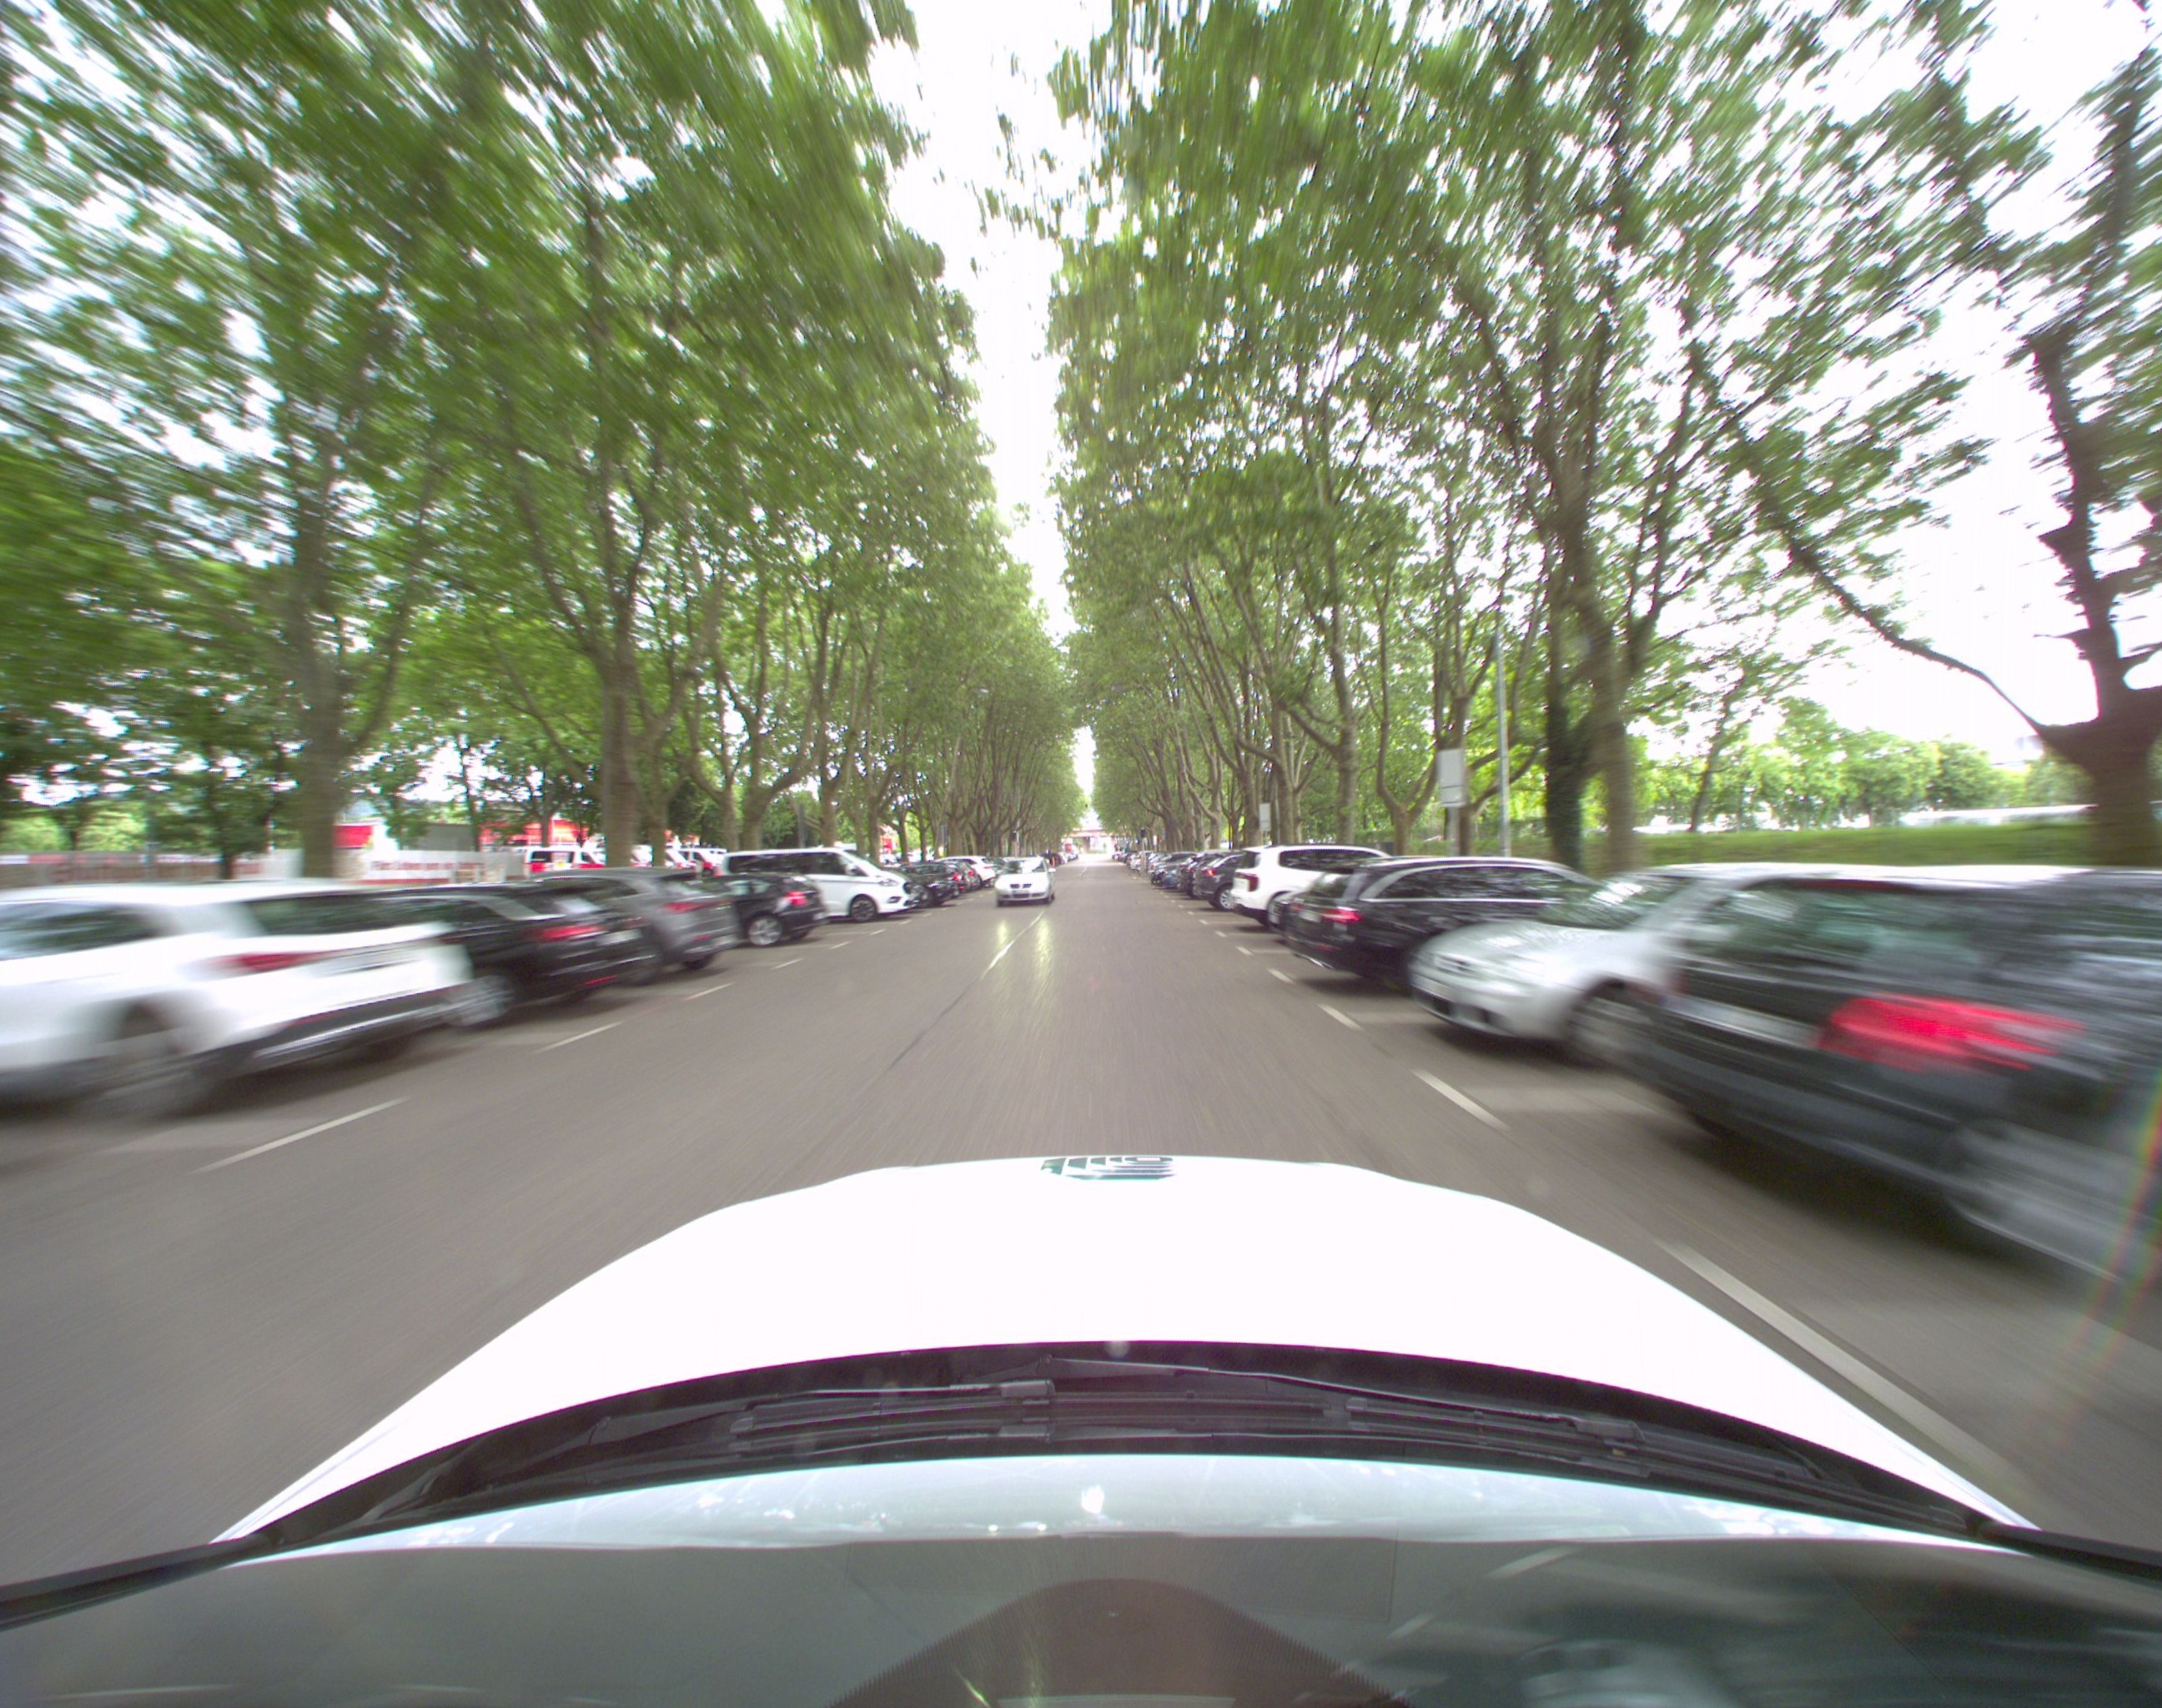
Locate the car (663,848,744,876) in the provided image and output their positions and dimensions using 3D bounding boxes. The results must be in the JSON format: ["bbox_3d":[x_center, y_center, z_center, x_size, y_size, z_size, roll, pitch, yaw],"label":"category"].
[{"bbox_3d":[-32.455,0.673,70.076,5.981,2.305,2.000,0,0,0],"label":"car"}]

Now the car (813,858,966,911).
[{"bbox_3d":[-6.171,0.970,26.514,4.426,1.452,1.777,-3,0,5],"label":"car"}]

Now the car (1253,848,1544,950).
[{"bbox_3d":[5.126,0.692,13.516,4.173,1.557,1.700,0,0,-1],"label":"car"}]

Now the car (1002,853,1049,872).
[{"bbox_3d":[-4.975,0.769,73.375,4.010,1.429,1.693,-3,0,-2],"label":"car"}]

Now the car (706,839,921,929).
[{"bbox_3d":[-6.906,0.750,21.417,4.877,2.019,1.919,-3,0,0],"label":"car"}]

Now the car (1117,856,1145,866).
[{"bbox_3d":[7.515,1.061,123.081,4.154,1.442,1.734,-1,0,6],"label":"car"}]

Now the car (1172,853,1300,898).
[{"bbox_3d":[4.964,0.664,26.402,3.815,1.389,1.694,0,0,-1],"label":"car"}]

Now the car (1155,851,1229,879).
[{"bbox_3d":[5.906,0.587,43.763,3.763,1.470,1.667,0,0,0],"label":"car"}]

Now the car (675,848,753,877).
[{"bbox_3d":[-32.583,0.749,72.406,5.981,2.527,2.000,0,0,0],"label":"car"}]

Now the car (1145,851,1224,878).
[{"bbox_3d":[5.866,0.575,46.610,4.352,1.470,1.624,0,0,0],"label":"car"}]

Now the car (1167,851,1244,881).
[{"bbox_3d":[6.277,0.576,41.344,3.761,1.470,1.625,0,0,2],"label":"car"}]

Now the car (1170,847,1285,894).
[{"bbox_3d":[5.182,0.582,29.058,3.815,1.607,1.694,0,0,-1],"label":"car"}]

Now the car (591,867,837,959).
[{"bbox_3d":[-7.087,1.111,16.020,3.975,1.413,1.682,-4,0,-1],"label":"car"}]

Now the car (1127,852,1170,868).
[{"bbox_3d":[6.122,0.545,74.139,3.636,1.424,1.984,0,0,-3],"label":"car"}]

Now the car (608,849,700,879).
[{"bbox_3d":[-32.904,0.784,62.846,5.981,2.240,2.000,0,0,0],"label":"car"}]

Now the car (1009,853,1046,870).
[{"bbox_3d":[-5.651,0.799,86.283,3.817,1.554,1.693,-3,0,-2],"label":"car"}]

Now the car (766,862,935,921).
[{"bbox_3d":[-6.773,1.089,24.235,4.434,1.452,1.774,-3,0,0],"label":"car"}]

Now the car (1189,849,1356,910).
[{"bbox_3d":[4.916,0.636,21.299,3.975,1.486,1.694,0,0,-1],"label":"car"}]

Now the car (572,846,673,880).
[{"bbox_3d":[-32.512,0.628,57.881,5.981,2.318,2.000,0,0,0],"label":"car"}]

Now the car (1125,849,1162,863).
[{"bbox_3d":[6.764,0.197,88.766,3.906,1.452,1.555,0,0,0],"label":"car"}]

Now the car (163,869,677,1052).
[{"bbox_3d":[-6.923,1.058,8.906,3.975,1.475,1.842,-4,0,-1],"label":"car"}]

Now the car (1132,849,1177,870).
[{"bbox_3d":[6.162,0.450,68.922,3.636,1.667,1.518,0,0,-3],"label":"car"}]

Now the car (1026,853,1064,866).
[{"bbox_3d":[-4.662,0.696,105.907,4.650,1.427,1.999,-4,0,-1],"label":"car"}]

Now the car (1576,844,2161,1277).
[{"bbox_3d":[4.874,0.720,3.825,4.032,1.526,1.814,0,0,-1],"label":"car"}]

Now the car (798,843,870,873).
[{"bbox_3d":[-21.888,0.311,72.391,5.764,2.597,2.001,0,0,1],"label":"car"}]

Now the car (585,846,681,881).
[{"bbox_3d":[-33.242,0.656,60.508,5.981,2.527,2.000,0,0,0],"label":"car"}]

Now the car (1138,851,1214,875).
[{"bbox_3d":[5.903,0.552,51.046,4.599,1.470,1.650,0,0,0],"label":"car"}]

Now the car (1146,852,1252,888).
[{"bbox_3d":[4.868,0.651,34.046,4.198,1.451,1.610,0,0,-1],"label":"car"}]

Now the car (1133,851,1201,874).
[{"bbox_3d":[5.643,0.570,53.700,4.286,1.470,1.622,0,0,-3],"label":"car"}]

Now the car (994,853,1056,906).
[{"bbox_3d":[-1.717,0.742,26.045,1.683,1.471,3.839,-3,0,0],"label":"car"}]

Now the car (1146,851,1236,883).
[{"bbox_3d":[5.237,0.616,39.032,4.099,1.470,1.695,0,0,1],"label":"car"}]

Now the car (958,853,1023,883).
[{"bbox_3d":[-5.615,0.854,51.021,3.817,1.608,1.693,-3,0,-2],"label":"car"}]

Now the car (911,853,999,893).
[{"bbox_3d":[-5.932,0.886,38.580,3.817,1.627,1.951,-3,0,-2],"label":"car"}]

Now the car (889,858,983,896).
[{"bbox_3d":[-6.410,1.004,36.205,3.817,1.471,1.693,-3,0,-2],"label":"car"}]

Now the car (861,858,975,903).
[{"bbox_3d":[-6.206,0.980,31.257,3.985,1.471,1.536,-3,0,-2],"label":"car"}]

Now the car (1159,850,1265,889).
[{"bbox_3d":[5.016,0.573,31.455,3.815,1.455,1.694,0,0,-1],"label":"car"}]

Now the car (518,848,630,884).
[{"bbox_3d":[-32.704,0.784,52.670,5.981,2.252,2.000,0,0,0],"label":"car"}]

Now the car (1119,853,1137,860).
[{"bbox_3d":[11.379,0.594,197.463,4.360,1.523,1.732,-1,0,2],"label":"car"}]

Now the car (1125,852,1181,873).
[{"bbox_3d":[5.601,0.677,63.905,4.156,1.596,1.853,0,0,-3],"label":"car"}]

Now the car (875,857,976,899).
[{"bbox_3d":[-6.419,0.985,33.916,3.744,1.474,1.864,-3,0,0],"label":"car"}]

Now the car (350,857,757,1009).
[{"bbox_3d":[-7.223,1.020,11.557,4.327,1.667,1.999,-4,0,-1],"label":"car"}]

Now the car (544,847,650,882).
[{"bbox_3d":[-32.746,0.701,55.182,5.981,2.252,2.000,0,0,0],"label":"car"}]

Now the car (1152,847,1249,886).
[{"bbox_3d":[5.261,0.557,36.289,4.098,1.670,1.695,0,0,1],"label":"car"}]

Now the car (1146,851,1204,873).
[{"bbox_3d":[6.509,0.554,56.486,3.766,1.470,1.622,0,0,-3],"label":"car"}]

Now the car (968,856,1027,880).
[{"bbox_3d":[-5.745,0.939,56.214,3.817,1.429,1.693,-3,0,-2],"label":"car"}]

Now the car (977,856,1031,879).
[{"bbox_3d":[-5.753,1.008,61.300,3.817,1.497,1.693,-3,0,-2],"label":"car"}]

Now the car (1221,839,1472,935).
[{"bbox_3d":[5.072,0.600,15.970,4.371,1.755,1.800,0,0,-1],"label":"car"}]

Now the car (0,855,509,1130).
[{"bbox_3d":[-7.386,0.985,6.322,4.327,1.667,1.999,-4,0,-1],"label":"car"}]

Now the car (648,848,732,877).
[{"bbox_3d":[-32.459,0.673,67.661,5.981,2.330,2.000,0,0,0],"label":"car"}]

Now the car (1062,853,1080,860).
[{"bbox_3d":[-2.239,0.556,178.412,3.796,1.515,1.688,-1,0,4],"label":"car"}]

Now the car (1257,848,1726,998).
[{"bbox_3d":[4.416,0.698,9.223,4.488,1.526,1.702,0,0,-1],"label":"car"}]

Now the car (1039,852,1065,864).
[{"bbox_3d":[-4.721,0.655,132.994,3.794,1.602,1.789,-4,0,6],"label":"car"}]

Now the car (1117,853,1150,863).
[{"bbox_3d":[7.507,0.562,115.909,4.551,1.486,2.003,-1,0,6],"label":"car"}]

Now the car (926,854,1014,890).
[{"bbox_3d":[-5.566,0.897,41.285,4.050,1.608,1.801,-3,0,3],"label":"car"}]

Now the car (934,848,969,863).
[{"bbox_3d":[-19.358,0.255,121.744,5.062,2.232,1.535,0,0,-1],"label":"car"}]

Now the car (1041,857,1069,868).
[{"bbox_3d":[-3.698,1.215,116.278,3.794,1.354,1.665,-4,0,6],"label":"car"}]
